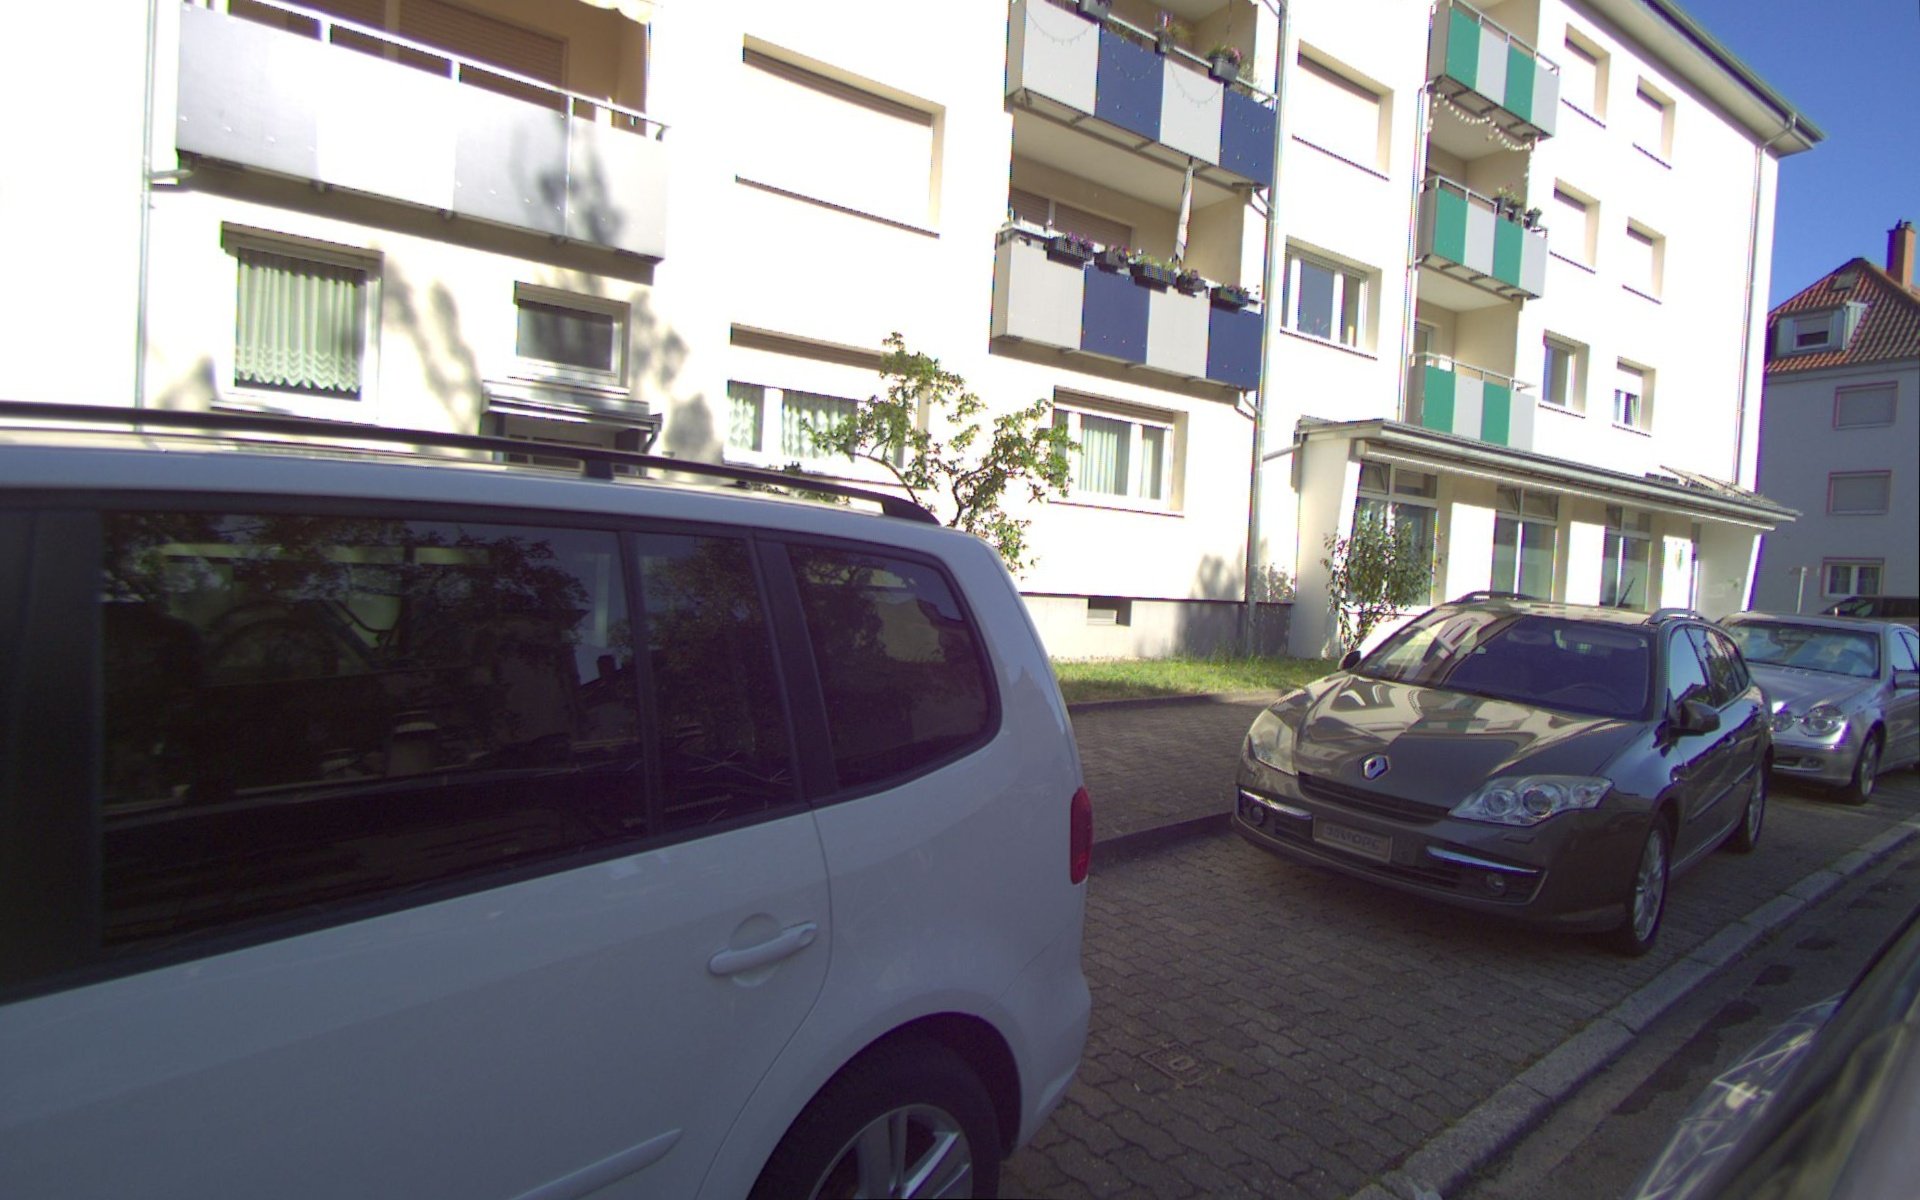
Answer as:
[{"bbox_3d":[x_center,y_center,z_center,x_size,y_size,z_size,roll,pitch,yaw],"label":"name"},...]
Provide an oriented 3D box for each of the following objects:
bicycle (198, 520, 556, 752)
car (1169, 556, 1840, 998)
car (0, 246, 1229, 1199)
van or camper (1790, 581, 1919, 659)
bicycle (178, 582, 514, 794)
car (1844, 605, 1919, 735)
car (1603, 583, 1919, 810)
[{"bbox_3d":[-3.362,0.201,5.973,1.725,1.217,0.517,2,4,-28],"label":"bicycle"},{"bbox_3d":[3.321,0.636,5.651,4.605,1.448,1.698,2,4,-41],"label":"car"},{"bbox_3d":[-1.609,0.445,1.421,4.315,1.675,1.697,2,4,-43],"label":"car"},{"bbox_3d":[27.179,0.644,28.710,1.960,2.038,5.146,4,1,-32],"label":"van or camper"},{"bbox_3d":[-3.966,0.540,6.660,1.797,1.217,0.517,2,4,-32],"label":"bicycle"},{"bbox_3d":[13.090,0.946,12.925,4.460,1.423,1.685,2,6,-37],"label":"car"},{"bbox_3d":[7.977,0.771,9.338,4.634,1.463,1.686,2,6,-36],"label":"car"}]
